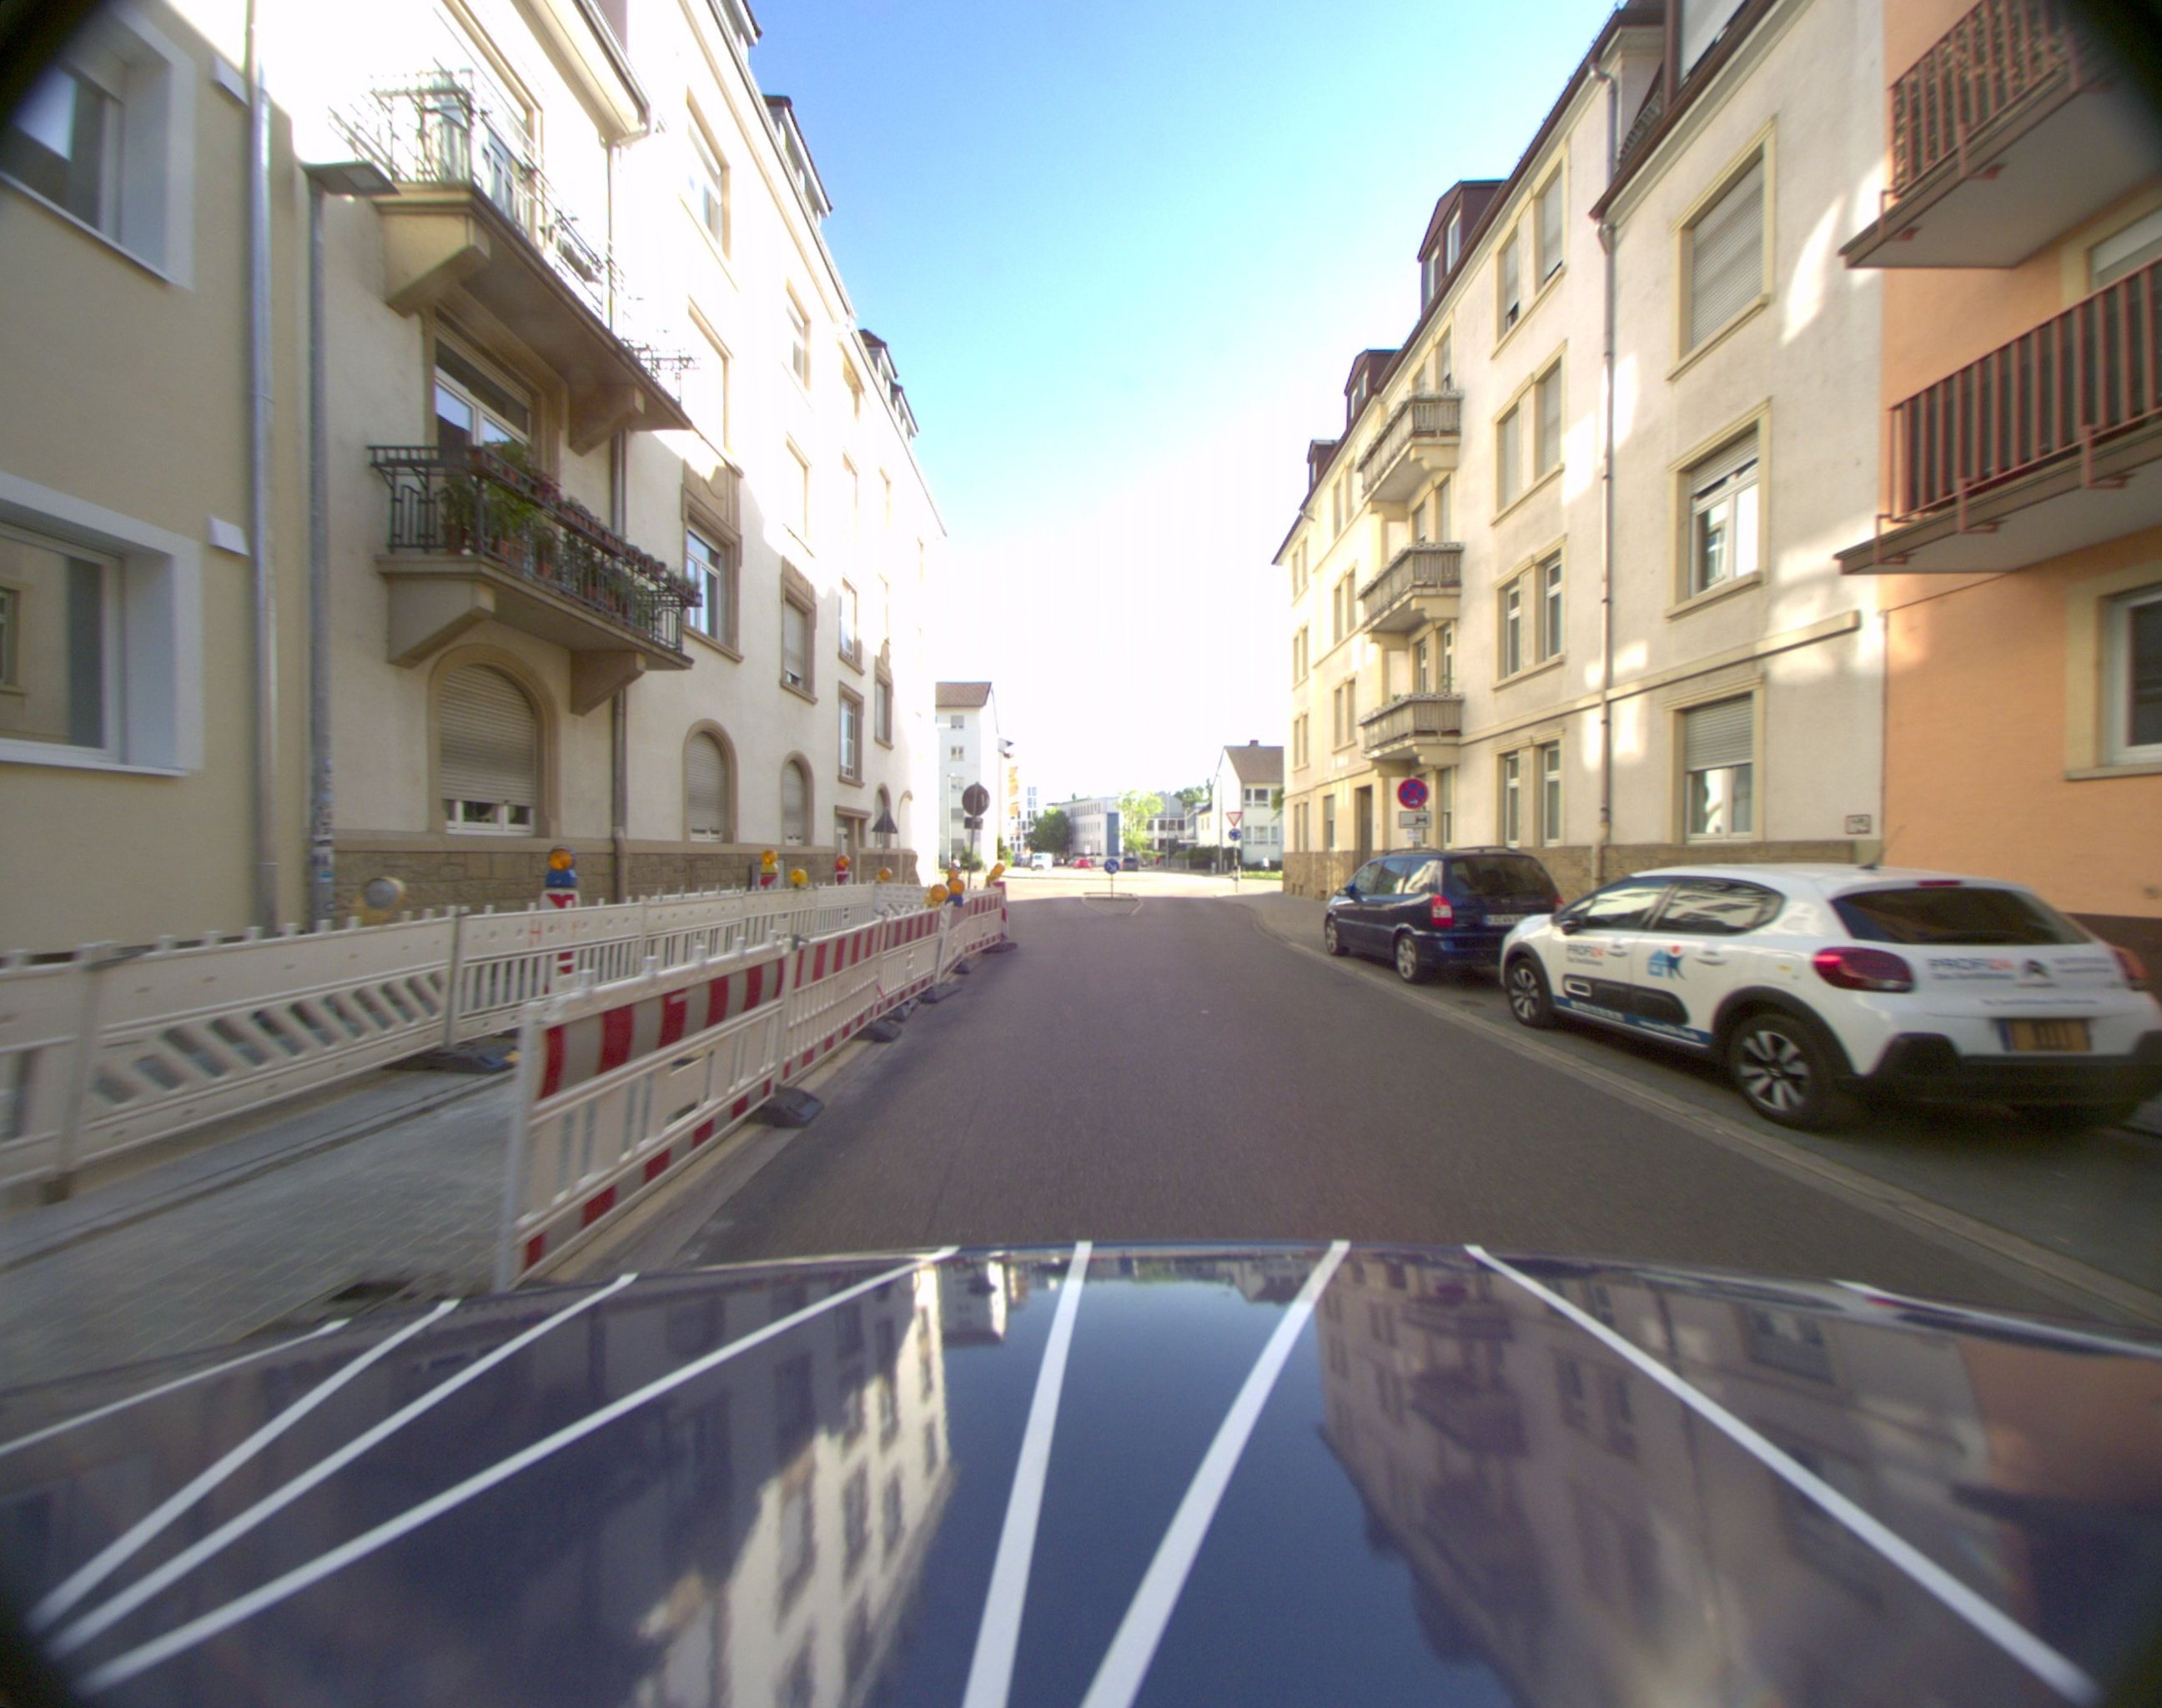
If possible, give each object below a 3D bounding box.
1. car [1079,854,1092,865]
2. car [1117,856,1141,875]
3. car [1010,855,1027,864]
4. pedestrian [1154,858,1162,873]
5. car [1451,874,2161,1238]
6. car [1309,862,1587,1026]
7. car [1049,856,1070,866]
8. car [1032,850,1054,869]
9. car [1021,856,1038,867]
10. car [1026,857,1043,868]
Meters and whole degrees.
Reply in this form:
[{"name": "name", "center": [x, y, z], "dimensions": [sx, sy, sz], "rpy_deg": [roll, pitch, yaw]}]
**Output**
[{"name": "car", "center": [0.580, 0.778, 104.189], "dimensions": [1.716, 1.374, 4.000], "rpy_deg": [2, -1, 0]}, {"name": "car", "center": [4.539, 1.079, 71.996], "dimensions": [1.880, 1.685, 4.273], "rpy_deg": [1, -1, -2]}, {"name": "car", "center": [-12.767, 1.134, 155.214], "dimensions": [2.141, 1.800, 4.827], "rpy_deg": [-1, 0, -20]}, {"name": "pedestrian", "center": [8.829, 1.310, 86.916], "dimensions": [0.819, 1.696, 0.997], "rpy_deg": [0, 1, -4]}, {"name": "car", "center": [4.699, 1.005, 5.714], "dimensions": [1.767, 1.611, 4.295], "rpy_deg": [0, 0, 0]}, {"name": "car", "center": [4.650, 1.003, 10.439], "dimensions": [1.767, 1.760, 4.294], "rpy_deg": [0, 0, 0]}, {"name": "car", "center": [-3.698, 1.163, 130.031], "dimensions": [2.141, 1.604, 4.827], "rpy_deg": [-1, 0, -20]}, {"name": "car", "center": [-4.305, 0.646, 87.296], "dimensions": [1.998, 2.002, 4.798], "rpy_deg": [4, 0, 2]}, {"name": "car", "center": [-7.977, 1.180, 117.415], "dimensions": [1.760, 1.445, 3.994], "rpy_deg": [4, -1, -15]}, {"name": "car", "center": [-6.892, 1.184, 113.045], "dimensions": [1.760, 1.445, 3.995], "rpy_deg": [4, -1, -14]}]
